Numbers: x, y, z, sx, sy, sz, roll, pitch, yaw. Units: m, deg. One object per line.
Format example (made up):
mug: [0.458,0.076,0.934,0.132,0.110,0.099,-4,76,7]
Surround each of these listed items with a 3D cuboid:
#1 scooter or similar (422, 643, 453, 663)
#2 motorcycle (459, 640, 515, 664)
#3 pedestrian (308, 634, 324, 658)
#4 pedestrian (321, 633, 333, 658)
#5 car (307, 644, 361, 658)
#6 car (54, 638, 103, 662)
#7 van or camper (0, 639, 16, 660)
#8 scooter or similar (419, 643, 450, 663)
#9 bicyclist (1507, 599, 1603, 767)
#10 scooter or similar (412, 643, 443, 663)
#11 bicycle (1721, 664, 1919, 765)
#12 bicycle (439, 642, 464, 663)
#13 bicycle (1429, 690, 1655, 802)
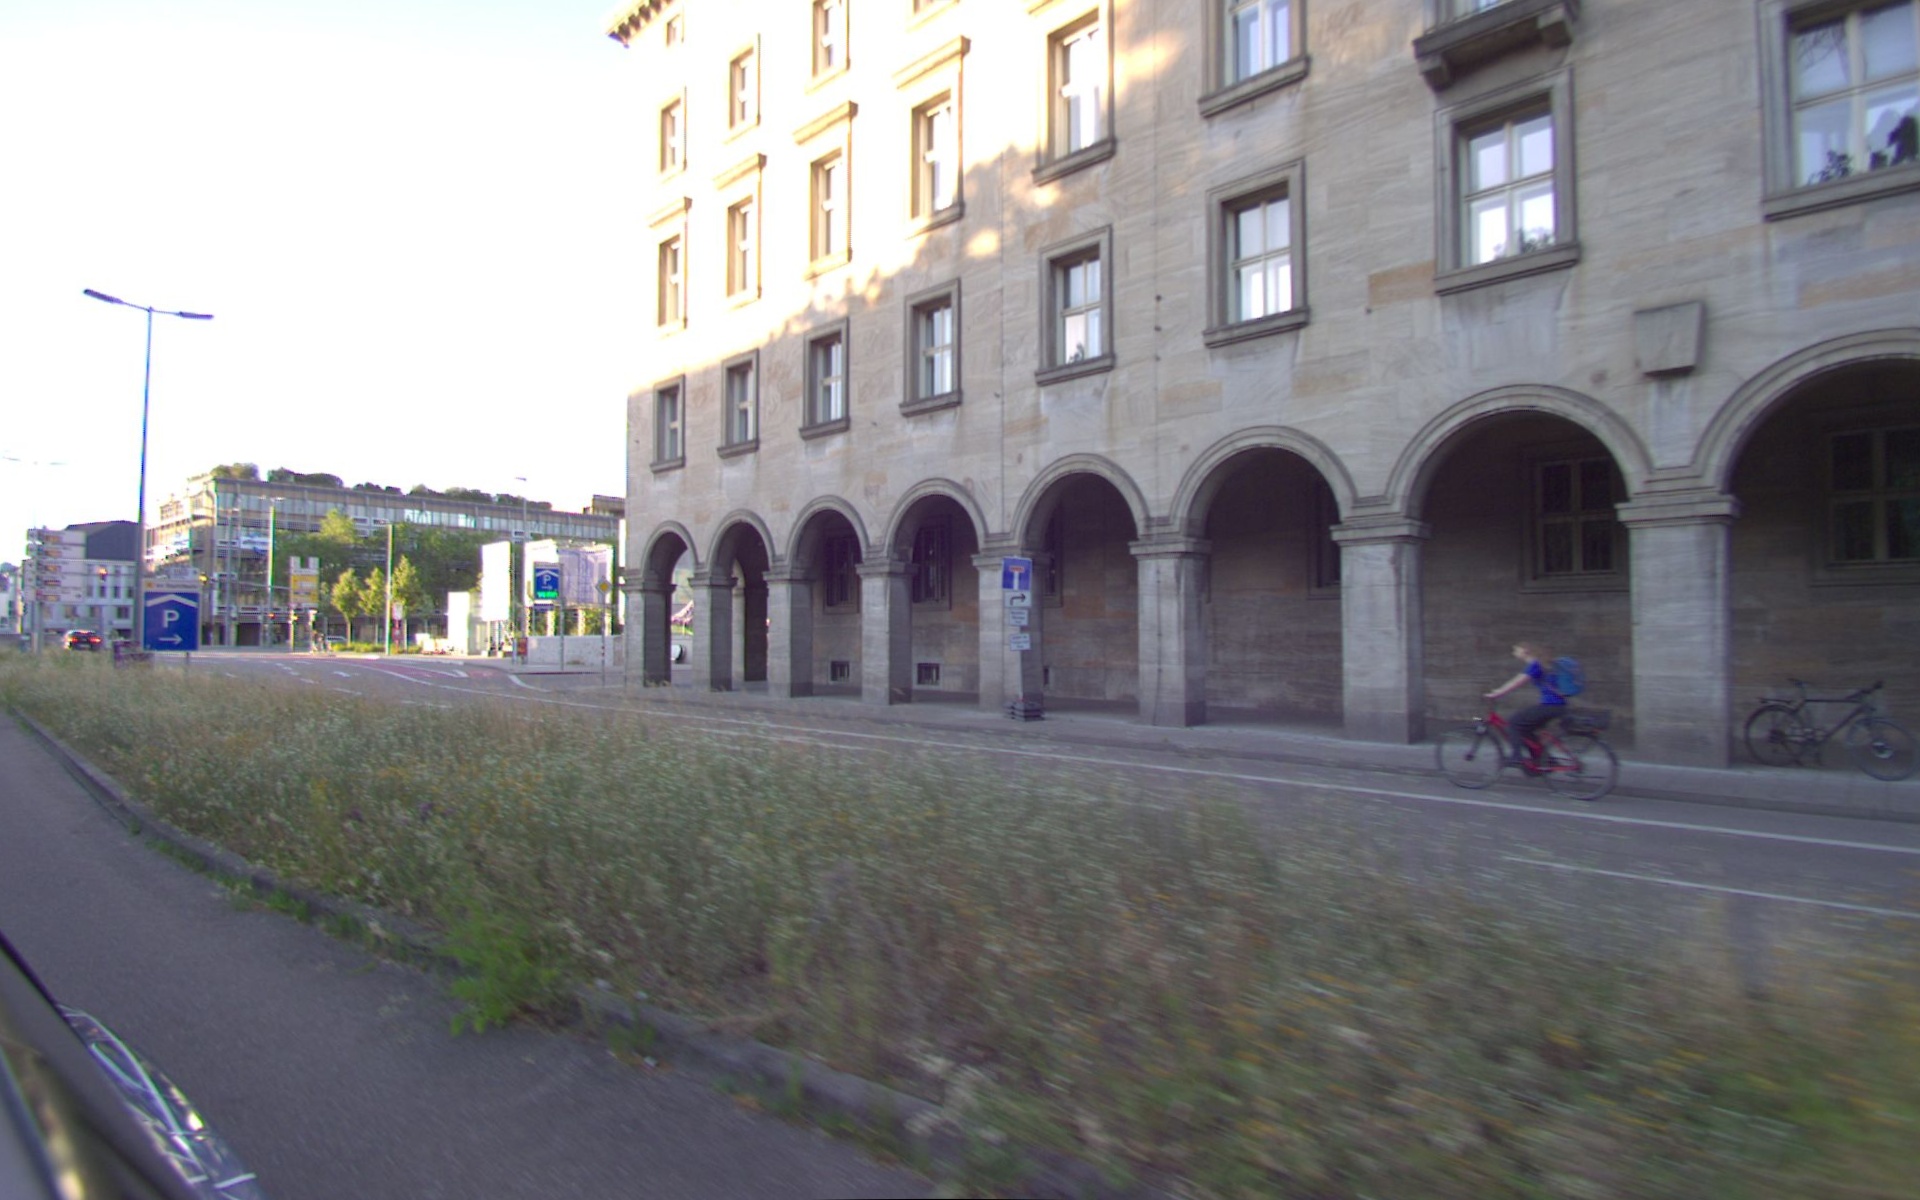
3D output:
scooter or similar: [-35.274,3.559,68.310,0.422,1.315,1.818,-2,-3,37]
motorcycle: [-30.247,3.332,64.798,0.840,1.393,3.198,-2,-2,42]
pedestrian: [-50.632,3.615,79.576,0.776,1.851,0.862,-2,-3,45]
pedestrian: [-50.230,3.615,80.320,0.651,1.948,0.648,2,-4,-45]
car: [-73.896,6.030,119.552,2.000,1.597,5.090,-3,-4,43]
car: [-56.143,3.169,64.444,4.537,1.477,1.866,-3,-3,43]
van or camper: [-126.145,6.559,133.056,6.157,2.687,2.204,-3,-4,40]
scooter or similar: [-35.617,3.577,68.589,0.422,1.315,1.813,-2,-3,37]
bicyclist: [6.292,0.856,10.711,0.749,1.706,0.530,-2,-3,44]
scooter or similar: [-36.398,3.602,69.200,0.500,1.315,1.840,-2,-3,37]
bicycle: [9.872,1.248,11.428,0.470,1.013,2.011,1,-3,-27]
bicycle: [-33.717,3.470,67.046,2.509,1.334,0.610,-2,-3,42]
bicycle: [6.164,1.506,10.815,2.005,1.013,0.535,-2,-3,44]
